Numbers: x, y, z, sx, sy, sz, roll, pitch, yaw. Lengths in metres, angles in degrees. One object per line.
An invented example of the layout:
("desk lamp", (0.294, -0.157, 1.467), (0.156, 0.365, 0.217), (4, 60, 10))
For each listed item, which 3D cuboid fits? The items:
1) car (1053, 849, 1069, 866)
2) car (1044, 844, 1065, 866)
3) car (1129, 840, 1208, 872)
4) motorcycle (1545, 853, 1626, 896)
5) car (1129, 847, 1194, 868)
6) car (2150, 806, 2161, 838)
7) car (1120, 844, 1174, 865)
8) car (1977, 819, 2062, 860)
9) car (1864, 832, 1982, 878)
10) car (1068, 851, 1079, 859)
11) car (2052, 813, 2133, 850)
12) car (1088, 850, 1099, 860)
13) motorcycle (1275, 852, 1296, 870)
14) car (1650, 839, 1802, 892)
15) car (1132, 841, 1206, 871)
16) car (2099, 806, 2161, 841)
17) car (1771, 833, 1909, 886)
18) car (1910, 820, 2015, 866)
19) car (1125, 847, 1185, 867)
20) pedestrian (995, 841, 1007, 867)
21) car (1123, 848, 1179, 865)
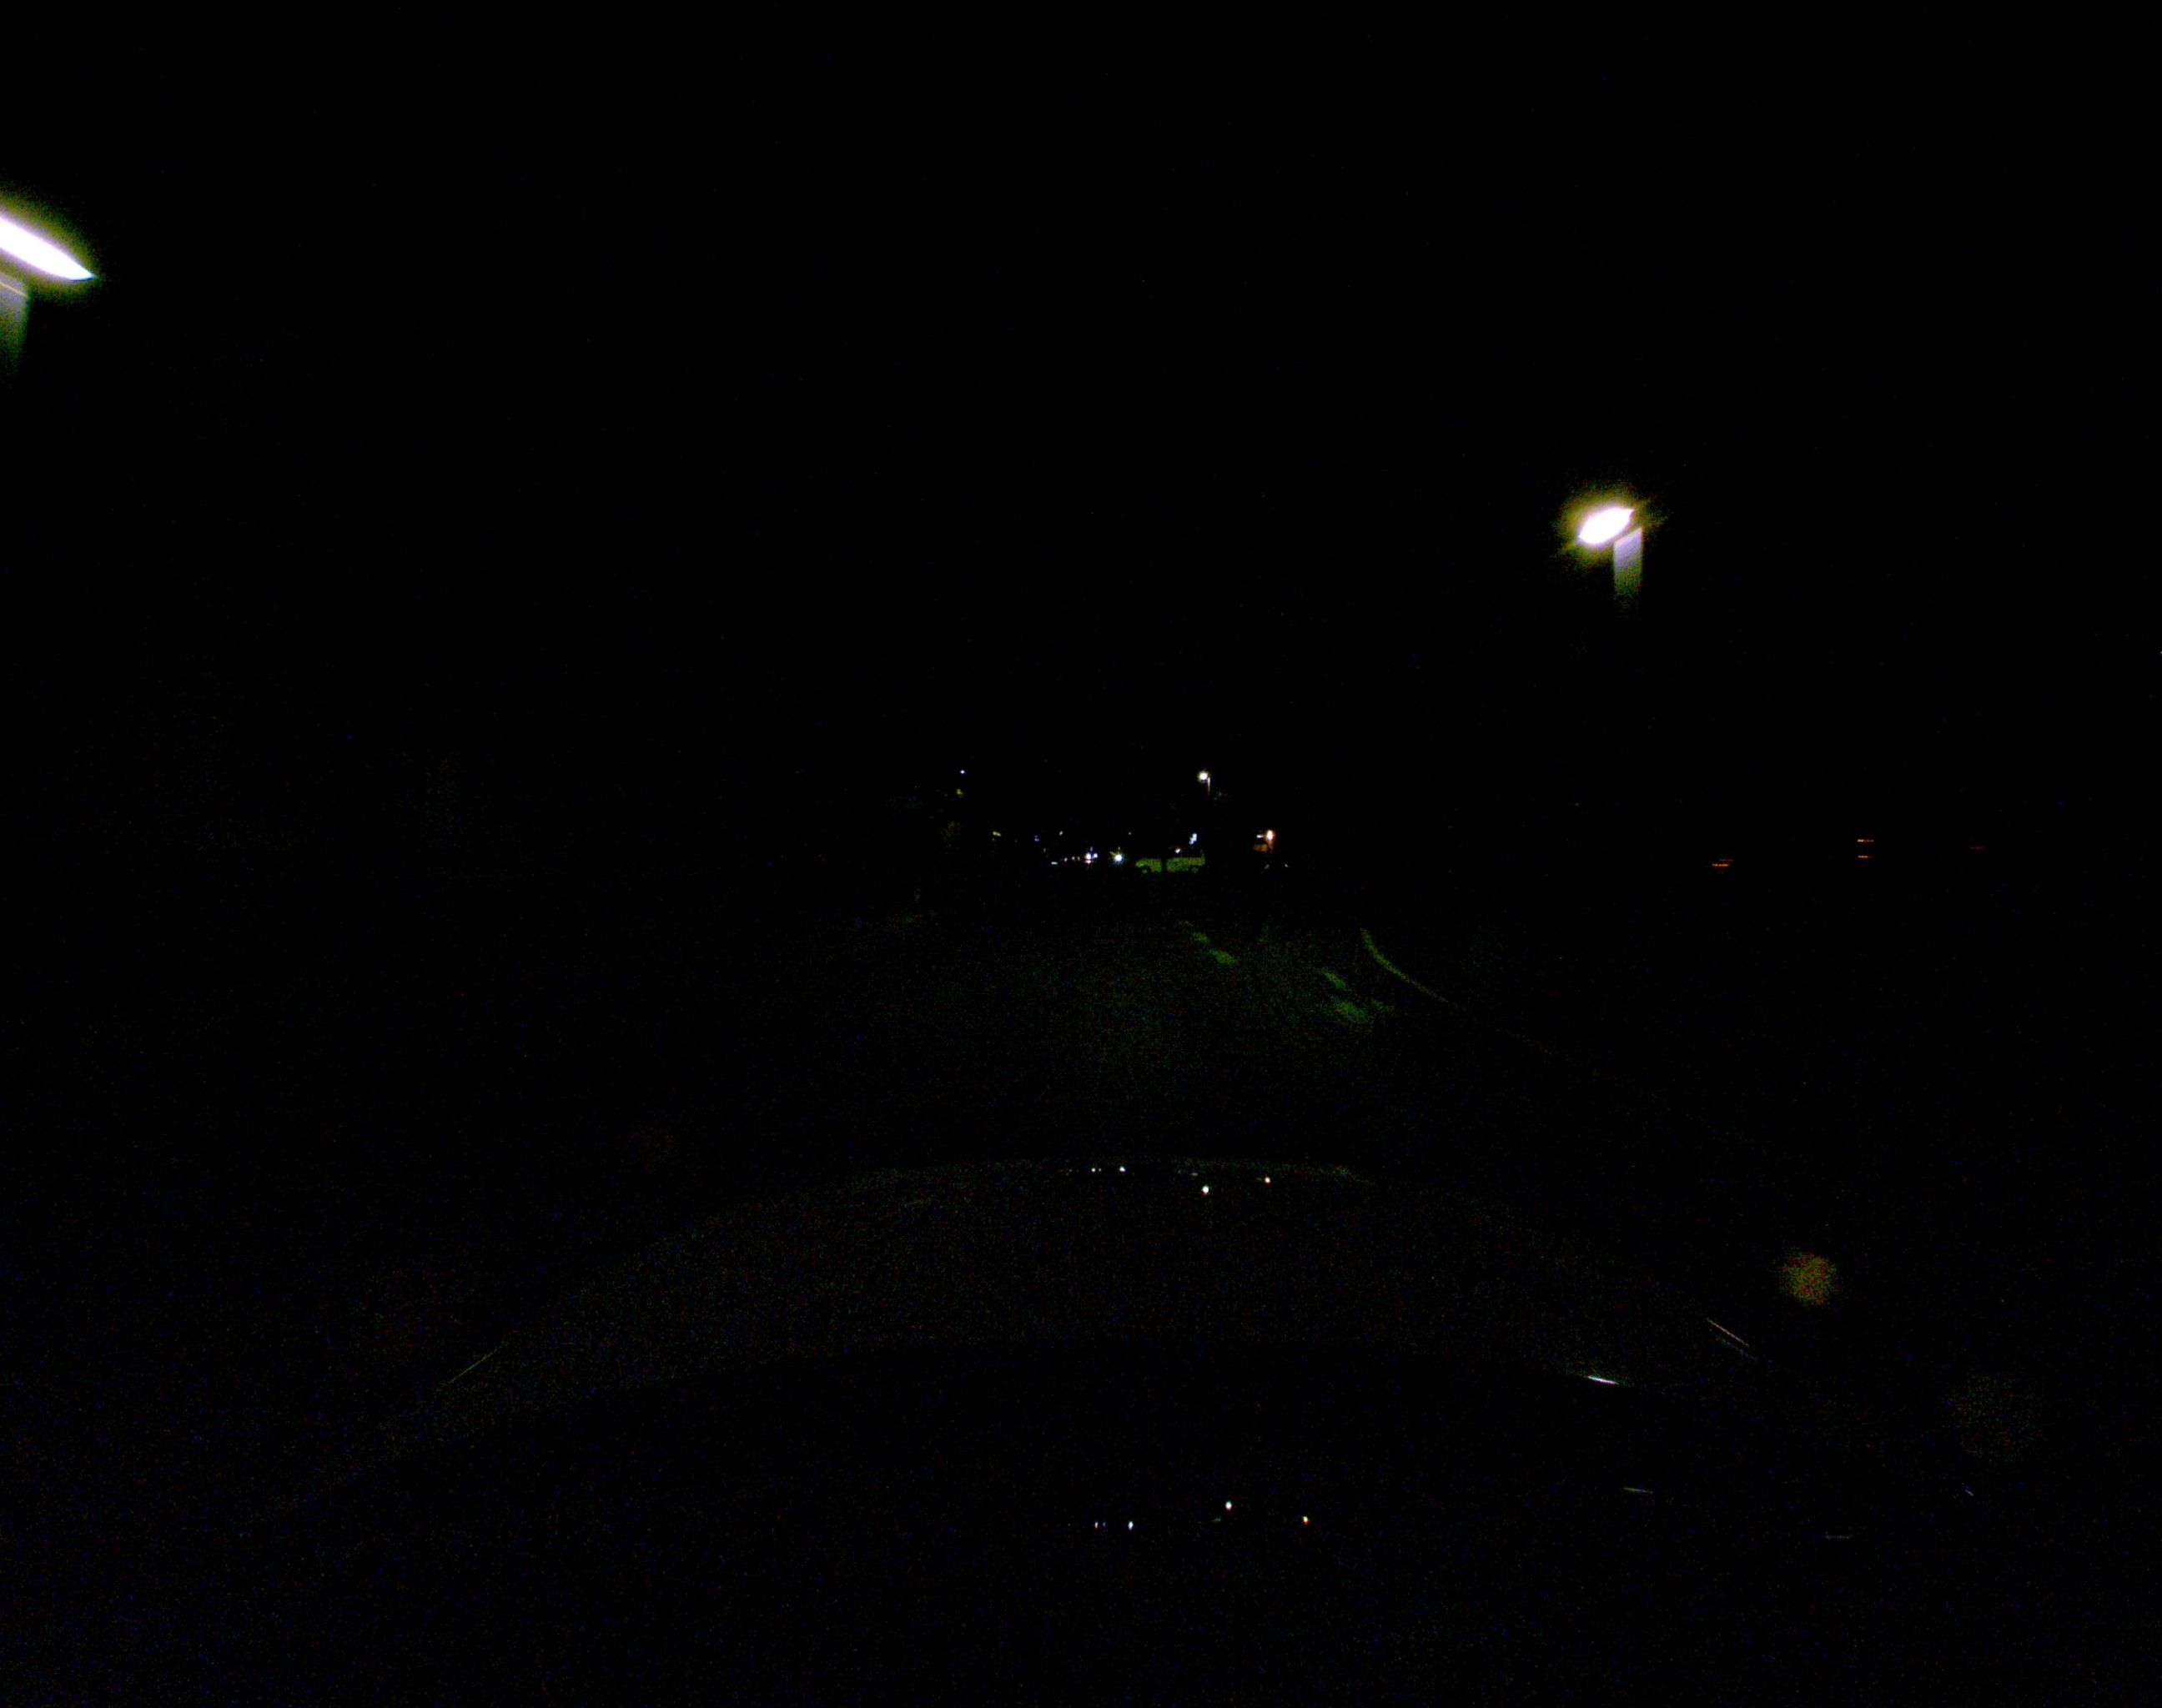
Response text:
("car", (-2.106, 0.356, 86.731), (1.529, 1.688, 3.212), (2, 0, 0))
("car", (-2.521, 0.068, 79.584), (1.819, 1.986, 4.465), (2, 0, 0))
("car", (5.977, 0.134, 55.900), (5.165, 2.013, 2.101), (-1, 0, 0))
("motorcycle", (15.265, 0.598, 24.630), (2.262, 1.214, 0.708), (-1, 0, -15))
("car", (6.572, 0.254, 66.967), (5.165, 1.594, 2.101), (-1, 0, 0))
("car", (57.886, -1.705, 42.315), (4.094, 1.670, 1.566), (-2, 1, -18))
("car", (6.559, 0.036, 80.669), (5.149, 1.887, 2.108), (-1, 0, 10))
("car", (40.289, -0.647, 34.967), (3.551, 1.670, 1.653), (-2, 1, -28))
("car", (30.030, 0.004, 29.024), (4.723, 1.474, 1.746), (-2, 1, -29))
("car", (-1.179, 0.161, 128.463), (1.677, 1.331, 3.599), (0, 0, 0))
("car", (48.140, -1.067, 38.766), (3.435, 1.670, 1.654), (-2, 1, -25))
("car", (2.176, 0.175, 147.621), (1.921, 1.648, 3.821), (-1, 0, 0))
("motorcycle", (15.511, 0.513, 61.722), (1.060, 1.326, 2.722), (0, 1, 25))
("car", (19.782, 0.321, 25.019), (3.625, 1.479, 1.855), (-1, 1, -14))
("car", (6.333, 0.135, 58.988), (5.165, 2.013, 2.101), (-1, 0, 0))
("car", (53.736, -1.526, 40.909), (4.410, 1.670, 1.829), (-2, 1, -18))
("car", (24.578, 0.136, 26.361), (4.032, 1.548, 1.602), (-2, 1, -20))
("car", (34.112, -0.443, 31.487), (4.340, 1.670, 1.746), (-2, 1, -29))
("car", (6.549, 0.240, 72.462), (5.165, 1.594, 2.101), (-1, 0, 0))
("pedestrian", (-6.220, 0.015, 63.426), (0.782, 2.013, 1.205), (2, 0, 1))
("car", (6.686, 0.257, 77.976), (5.165, 1.469, 2.101), (-1, 0, 0))
